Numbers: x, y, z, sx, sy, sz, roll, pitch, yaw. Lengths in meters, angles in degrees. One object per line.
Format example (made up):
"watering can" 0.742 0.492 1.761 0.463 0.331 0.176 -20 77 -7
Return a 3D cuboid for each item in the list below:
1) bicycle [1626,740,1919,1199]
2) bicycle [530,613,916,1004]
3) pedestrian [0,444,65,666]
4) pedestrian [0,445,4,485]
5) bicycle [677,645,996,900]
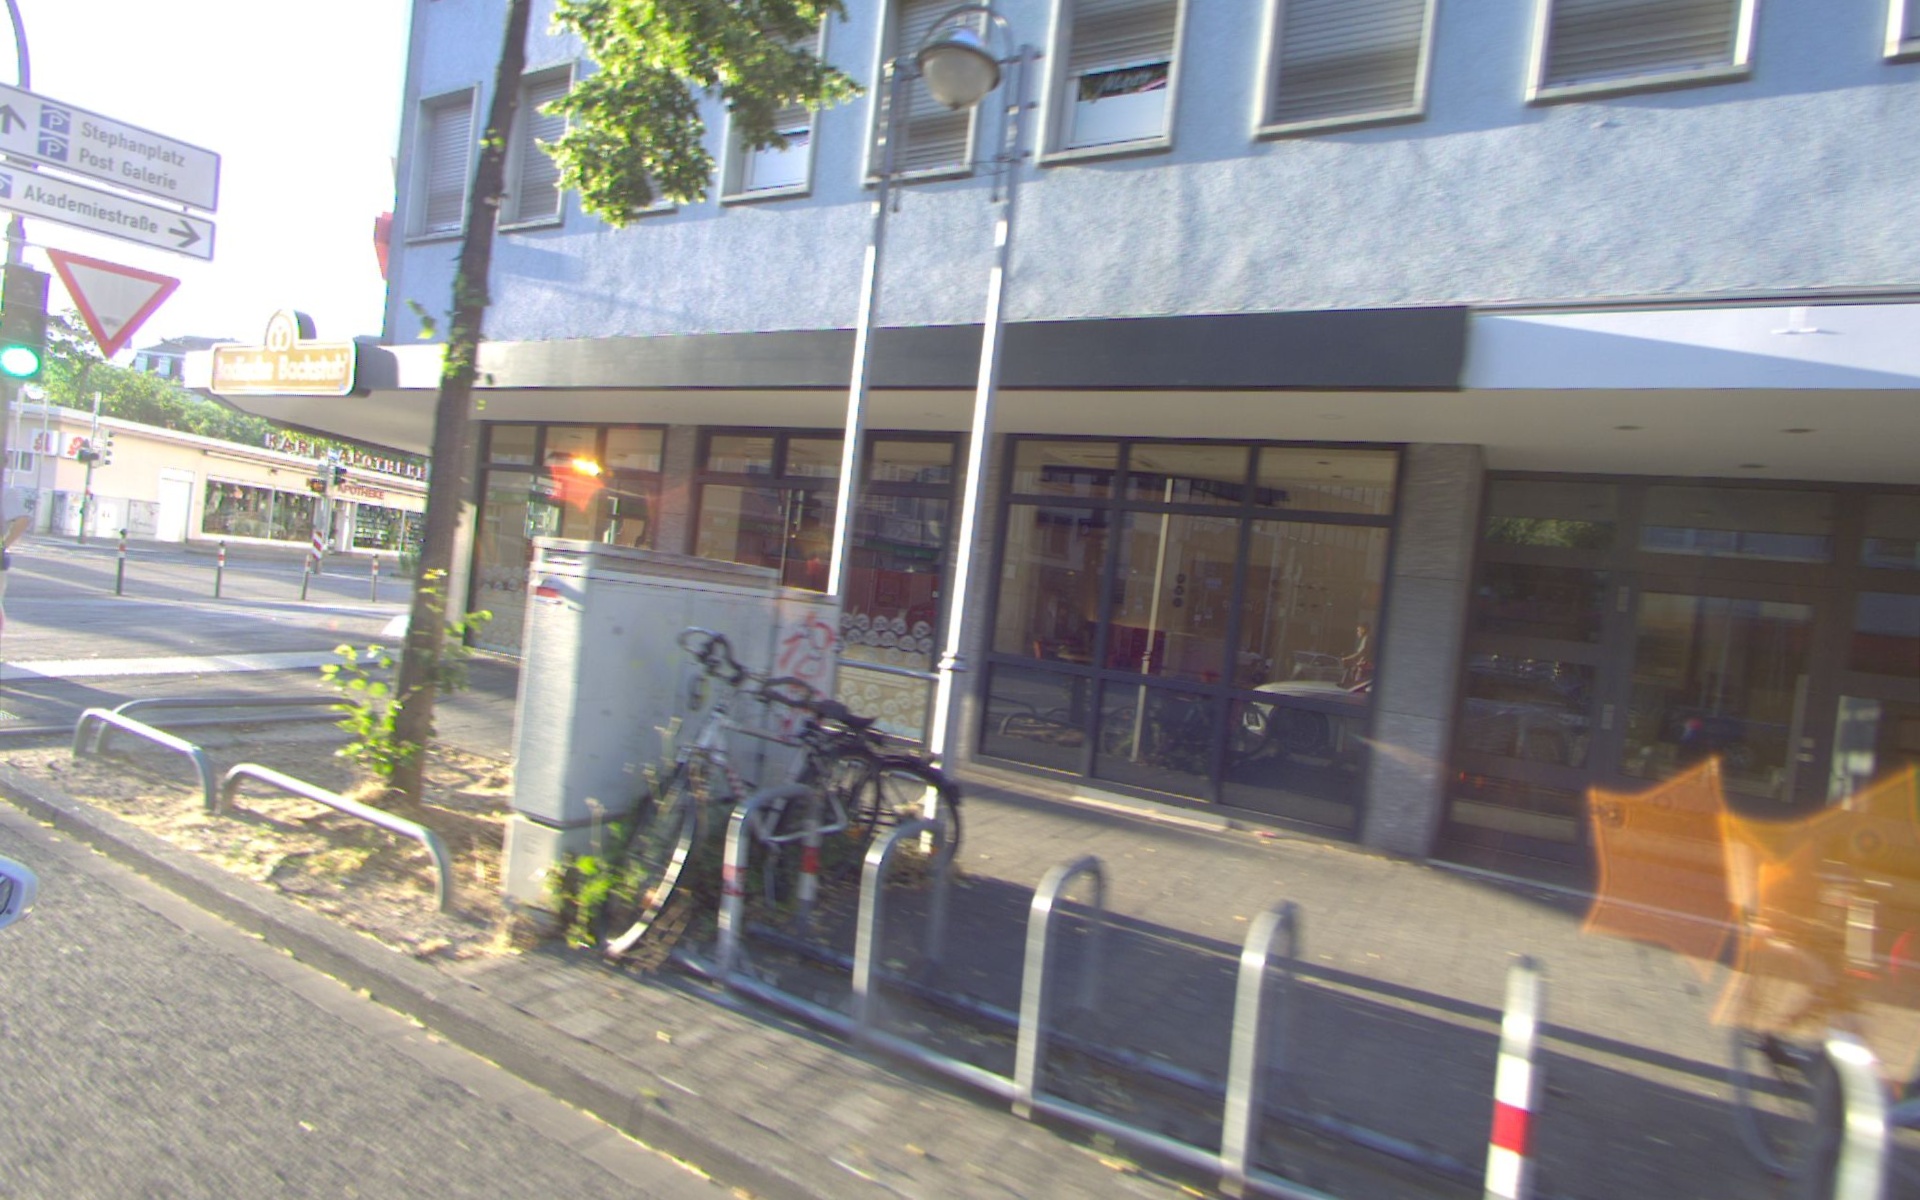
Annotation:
"bicycle" 2.425 1.087 2.709 0.484 1.209 1.663 7 0 18
"bicycle" -0.837 0.724 4.077 0.469 1.209 1.661 8 0 25
"pedestrian" -8.102 -0.395 8.297 0.735 1.796 0.639 7 1 10
"pedestrian" -8.918 -0.516 8.612 0.736 1.795 0.586 6 1 -1
"bicycle" -0.690 0.856 5.372 1.640 1.024 0.403 7 3 25
